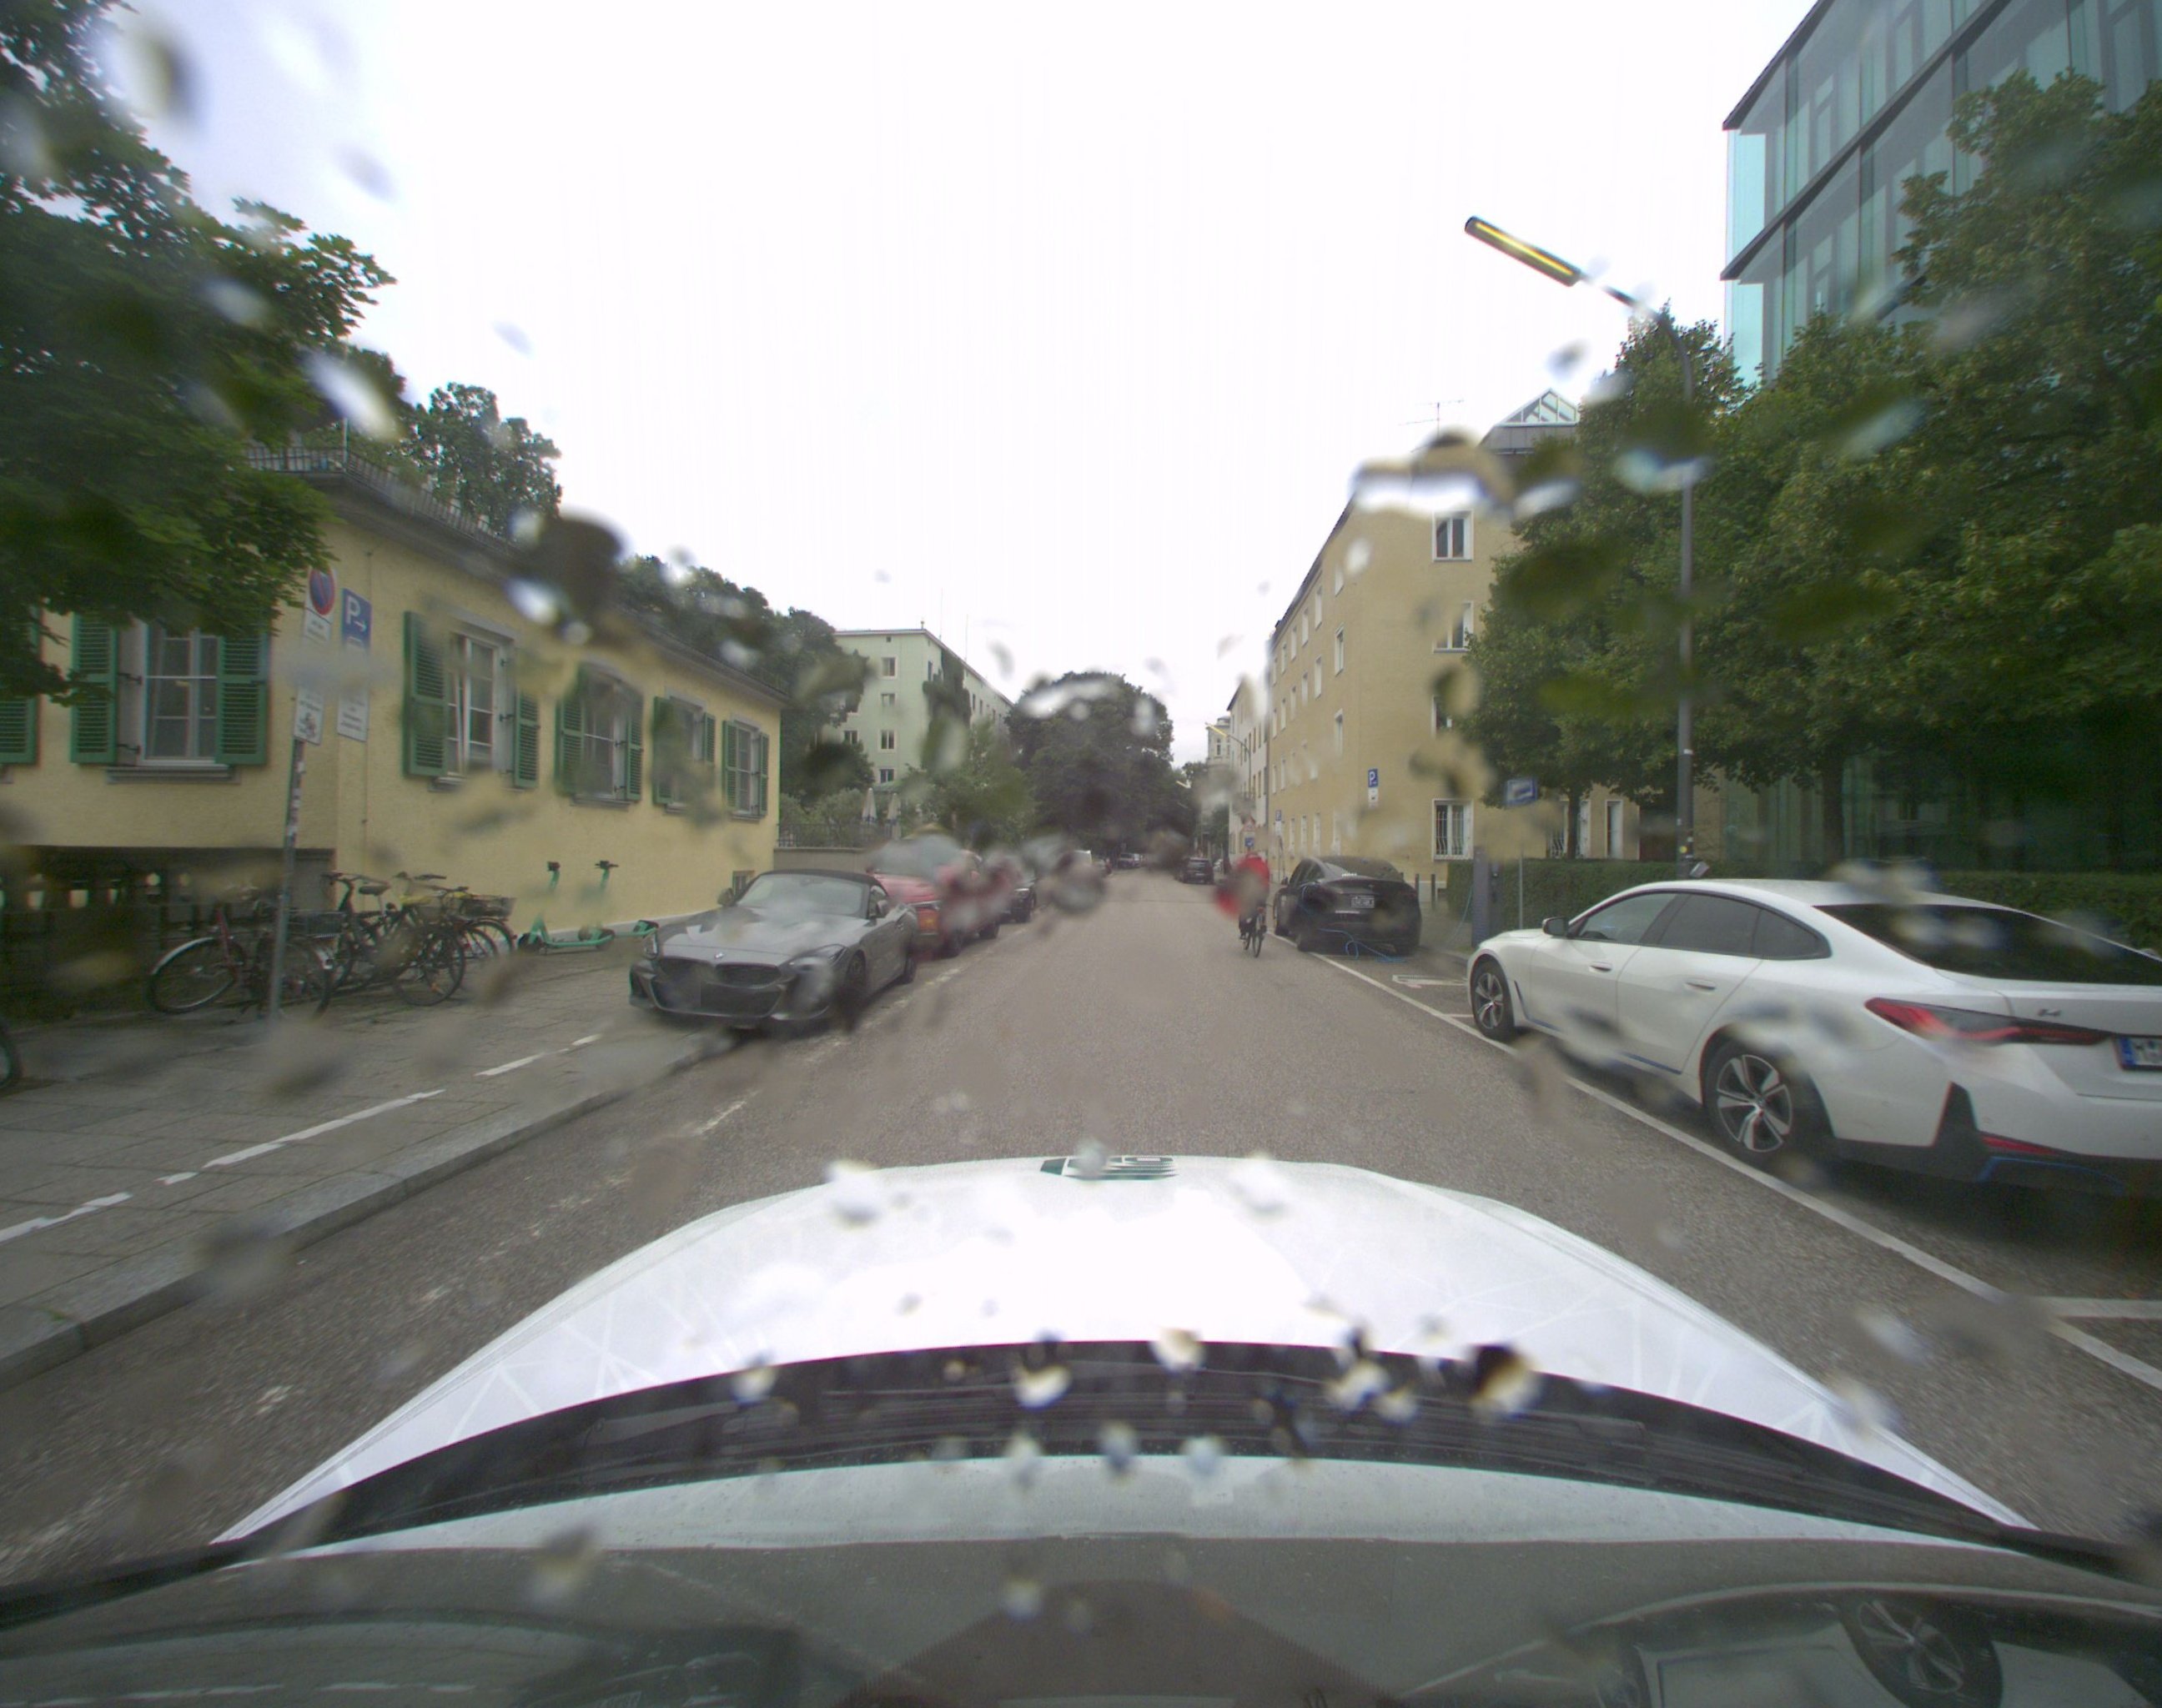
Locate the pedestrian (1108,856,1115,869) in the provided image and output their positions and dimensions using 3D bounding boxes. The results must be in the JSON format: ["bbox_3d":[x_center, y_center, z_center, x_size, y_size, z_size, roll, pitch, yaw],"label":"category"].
[{"bbox_3d":[3.722,1.067,99.828,0.711,1.548,0.753,2,0,1],"label":"pedestrian"}]

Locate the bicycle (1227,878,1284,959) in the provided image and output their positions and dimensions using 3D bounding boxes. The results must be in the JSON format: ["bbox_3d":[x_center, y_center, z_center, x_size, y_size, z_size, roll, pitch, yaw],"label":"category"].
[{"bbox_3d":[2.791,0.988,13.164,0.669,1.141,2.014,2,-1,6],"label":"bicycle"}]

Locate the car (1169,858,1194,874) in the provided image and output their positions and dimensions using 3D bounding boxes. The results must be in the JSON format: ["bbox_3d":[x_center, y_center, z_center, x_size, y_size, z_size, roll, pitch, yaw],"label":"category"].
[{"bbox_3d":[8.858,1.069,71.872,1.990,1.319,4.601,-2,0,4],"label":"car"}]

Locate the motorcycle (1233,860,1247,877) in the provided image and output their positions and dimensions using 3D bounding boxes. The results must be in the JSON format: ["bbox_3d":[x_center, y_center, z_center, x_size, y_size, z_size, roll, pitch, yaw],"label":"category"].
[{"bbox_3d":[11.516,1.033,59.089,0.729,1.239,2.009,2,-1,4],"label":"motorcycle"}]

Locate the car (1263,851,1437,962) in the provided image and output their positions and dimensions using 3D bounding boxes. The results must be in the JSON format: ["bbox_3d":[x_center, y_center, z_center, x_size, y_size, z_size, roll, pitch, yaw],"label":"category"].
[{"bbox_3d":[4.709,0.818,15.108,1.984,1.631,5.108,2,0,6],"label":"car"}]

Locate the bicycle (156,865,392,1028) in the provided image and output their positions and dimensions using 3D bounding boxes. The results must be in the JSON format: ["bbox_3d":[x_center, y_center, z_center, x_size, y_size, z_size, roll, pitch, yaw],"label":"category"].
[{"bbox_3d":[-6.376,0.696,6.444,1.618,1.173,0.468,1,0,11],"label":"bicycle"}]

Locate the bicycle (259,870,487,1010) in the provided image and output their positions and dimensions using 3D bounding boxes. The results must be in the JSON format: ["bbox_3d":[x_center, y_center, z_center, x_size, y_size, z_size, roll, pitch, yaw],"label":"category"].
[{"bbox_3d":[-6.185,0.737,7.140,1.694,1.172,0.352,1,0,2],"label":"bicycle"}]

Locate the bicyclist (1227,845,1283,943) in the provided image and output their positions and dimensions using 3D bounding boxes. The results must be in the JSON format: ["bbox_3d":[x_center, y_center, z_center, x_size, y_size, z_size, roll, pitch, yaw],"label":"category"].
[{"bbox_3d":[2.775,0.618,13.056,0.750,1.483,0.983,2,-1,6],"label":"bicyclist"}]

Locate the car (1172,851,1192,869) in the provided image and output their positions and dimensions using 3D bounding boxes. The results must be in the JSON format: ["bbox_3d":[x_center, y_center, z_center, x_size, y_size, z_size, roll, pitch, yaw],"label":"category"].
[{"bbox_3d":[12.469,0.728,100.808,2.193,2.208,4.862,-1,-1,5],"label":"car"}]

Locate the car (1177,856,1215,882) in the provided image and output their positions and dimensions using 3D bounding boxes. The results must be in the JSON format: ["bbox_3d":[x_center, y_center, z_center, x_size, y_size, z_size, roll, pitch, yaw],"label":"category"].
[{"bbox_3d":[7.250,0.921,51.670,1.853,1.577,4.902,0,0,2],"label":"car"}]

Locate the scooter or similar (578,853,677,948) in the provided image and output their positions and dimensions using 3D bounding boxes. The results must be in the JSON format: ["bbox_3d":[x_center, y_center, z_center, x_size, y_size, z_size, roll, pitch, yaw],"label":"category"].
[{"bbox_3d":[-6.646,0.647,11.979,0.360,1.314,1.261,0,0,28],"label":"scooter or similar"}]

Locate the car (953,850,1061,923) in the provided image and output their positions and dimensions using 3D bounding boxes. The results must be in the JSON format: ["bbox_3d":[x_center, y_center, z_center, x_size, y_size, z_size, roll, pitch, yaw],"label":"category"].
[{"bbox_3d":[-1.763,0.759,21.059,1.836,1.607,4.750,2,0,6],"label":"car"}]

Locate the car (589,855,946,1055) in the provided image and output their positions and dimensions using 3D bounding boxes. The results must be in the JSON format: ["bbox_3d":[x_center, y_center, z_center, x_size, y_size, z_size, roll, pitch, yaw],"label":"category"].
[{"bbox_3d":[-2.869,0.806,8.783,1.889,1.519,4.656,2,0,1],"label":"car"}]

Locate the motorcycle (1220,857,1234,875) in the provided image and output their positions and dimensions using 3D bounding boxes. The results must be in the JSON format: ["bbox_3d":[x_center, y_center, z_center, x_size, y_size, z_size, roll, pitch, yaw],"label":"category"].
[{"bbox_3d":[12.147,0.976,67.869,0.853,1.433,2.709,0,0,3],"label":"motorcycle"}]

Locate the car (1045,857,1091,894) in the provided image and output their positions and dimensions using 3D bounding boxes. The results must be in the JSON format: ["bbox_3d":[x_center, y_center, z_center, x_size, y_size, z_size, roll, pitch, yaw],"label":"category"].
[{"bbox_3d":[-0.528,0.936,36.993,1.880,1.544,4.697,1,0,1],"label":"car"}]

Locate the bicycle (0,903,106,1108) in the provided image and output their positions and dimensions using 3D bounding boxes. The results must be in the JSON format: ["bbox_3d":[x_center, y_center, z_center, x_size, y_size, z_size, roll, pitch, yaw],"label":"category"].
[{"bbox_3d":[-6.513,0.802,4.510,1.713,1.028,0.646,2,0,10],"label":"bicycle"}]

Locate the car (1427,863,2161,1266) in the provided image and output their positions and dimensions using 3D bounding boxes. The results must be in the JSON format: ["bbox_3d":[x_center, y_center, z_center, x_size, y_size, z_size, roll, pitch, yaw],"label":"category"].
[{"bbox_3d":[4.360,0.846,5.566,1.986,1.460,4.958,2,0,2],"label":"car"}]

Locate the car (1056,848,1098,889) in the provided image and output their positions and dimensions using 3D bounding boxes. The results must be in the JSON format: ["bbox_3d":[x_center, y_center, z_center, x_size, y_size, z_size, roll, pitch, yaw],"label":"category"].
[{"bbox_3d":[-0.161,0.716,42.964,1.959,1.990,5.154,2,0,2],"label":"car"}]

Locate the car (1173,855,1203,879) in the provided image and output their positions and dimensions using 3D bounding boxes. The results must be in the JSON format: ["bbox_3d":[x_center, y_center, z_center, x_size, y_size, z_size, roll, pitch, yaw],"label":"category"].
[{"bbox_3d":[8.140,0.952,62.387,1.984,1.707,4.540,2,0,5],"label":"car"}]

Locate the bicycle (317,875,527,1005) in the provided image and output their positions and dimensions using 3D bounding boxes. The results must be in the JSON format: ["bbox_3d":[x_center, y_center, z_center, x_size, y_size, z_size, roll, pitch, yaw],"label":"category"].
[{"bbox_3d":[-6.057,0.777,7.511,1.622,1.137,0.387,1,0,2],"label":"bicycle"}]

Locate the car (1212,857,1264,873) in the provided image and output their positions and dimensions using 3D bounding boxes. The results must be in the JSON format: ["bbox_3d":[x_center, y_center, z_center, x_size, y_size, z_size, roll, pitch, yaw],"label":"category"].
[{"bbox_3d":[15.386,1.073,80.090,4.884,1.531,1.916,0,2,4],"label":"car"}]

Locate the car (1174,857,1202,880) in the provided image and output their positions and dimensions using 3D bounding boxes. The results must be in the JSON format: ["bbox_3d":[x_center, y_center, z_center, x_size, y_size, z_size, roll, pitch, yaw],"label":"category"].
[{"bbox_3d":[7.456,0.983,57.113,1.829,1.531,4.422,0,0,6],"label":"car"}]

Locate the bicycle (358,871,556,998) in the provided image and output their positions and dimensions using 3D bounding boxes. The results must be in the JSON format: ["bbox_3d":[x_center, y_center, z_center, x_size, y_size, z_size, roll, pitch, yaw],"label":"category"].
[{"bbox_3d":[-6.148,0.767,8.064,1.483,1.149,0.643,1,0,5],"label":"bicycle"}]

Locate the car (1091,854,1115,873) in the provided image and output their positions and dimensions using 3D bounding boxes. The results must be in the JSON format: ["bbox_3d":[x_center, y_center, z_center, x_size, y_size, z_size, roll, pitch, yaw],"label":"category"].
[{"bbox_3d":[1.999,0.876,73.436,1.878,1.590,4.533,2,0,4],"label":"car"}]

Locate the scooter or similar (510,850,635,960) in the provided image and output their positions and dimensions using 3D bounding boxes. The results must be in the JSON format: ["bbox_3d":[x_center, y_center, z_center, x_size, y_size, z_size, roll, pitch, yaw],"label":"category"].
[{"bbox_3d":[-6.639,0.632,10.693,0.371,1.343,1.361,0,0,30],"label":"scooter or similar"}]

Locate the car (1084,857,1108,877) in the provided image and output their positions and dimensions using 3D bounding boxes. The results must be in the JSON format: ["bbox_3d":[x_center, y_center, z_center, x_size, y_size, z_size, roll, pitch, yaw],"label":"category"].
[{"bbox_3d":[1.223,0.977,63.718,1.800,1.402,4.926,2,0,2],"label":"car"}]

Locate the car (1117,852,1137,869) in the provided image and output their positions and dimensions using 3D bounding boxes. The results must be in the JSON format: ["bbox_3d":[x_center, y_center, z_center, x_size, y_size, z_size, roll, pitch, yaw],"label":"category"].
[{"bbox_3d":[5.738,0.837,101.426,2.237,1.956,5.460,2,0,4],"label":"car"}]

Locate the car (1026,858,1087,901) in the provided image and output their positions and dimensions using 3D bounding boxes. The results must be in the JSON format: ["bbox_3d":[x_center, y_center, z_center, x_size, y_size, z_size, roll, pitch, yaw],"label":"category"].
[{"bbox_3d":[-0.880,0.949,31.910,1.850,1.544,4.194,-1,0,5],"label":"car"}]

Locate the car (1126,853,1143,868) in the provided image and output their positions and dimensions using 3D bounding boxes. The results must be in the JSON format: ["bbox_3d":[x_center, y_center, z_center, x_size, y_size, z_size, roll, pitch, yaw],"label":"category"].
[{"bbox_3d":[7.418,0.954,113.054,2.174,1.956,5.173,2,0,4],"label":"car"}]

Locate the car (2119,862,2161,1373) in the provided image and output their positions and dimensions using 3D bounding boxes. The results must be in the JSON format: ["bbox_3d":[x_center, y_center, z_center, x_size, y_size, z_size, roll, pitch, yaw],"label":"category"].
[{"bbox_3d":[4.106,0.820,0.109,1.953,1.552,4.855,2,0,4],"label":"car"}]

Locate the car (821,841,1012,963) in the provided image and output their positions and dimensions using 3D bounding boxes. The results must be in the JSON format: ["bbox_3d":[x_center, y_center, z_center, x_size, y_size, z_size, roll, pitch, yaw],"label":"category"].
[{"bbox_3d":[-2.589,0.701,14.175,1.893,1.692,4.815,2,0,5],"label":"car"}]
